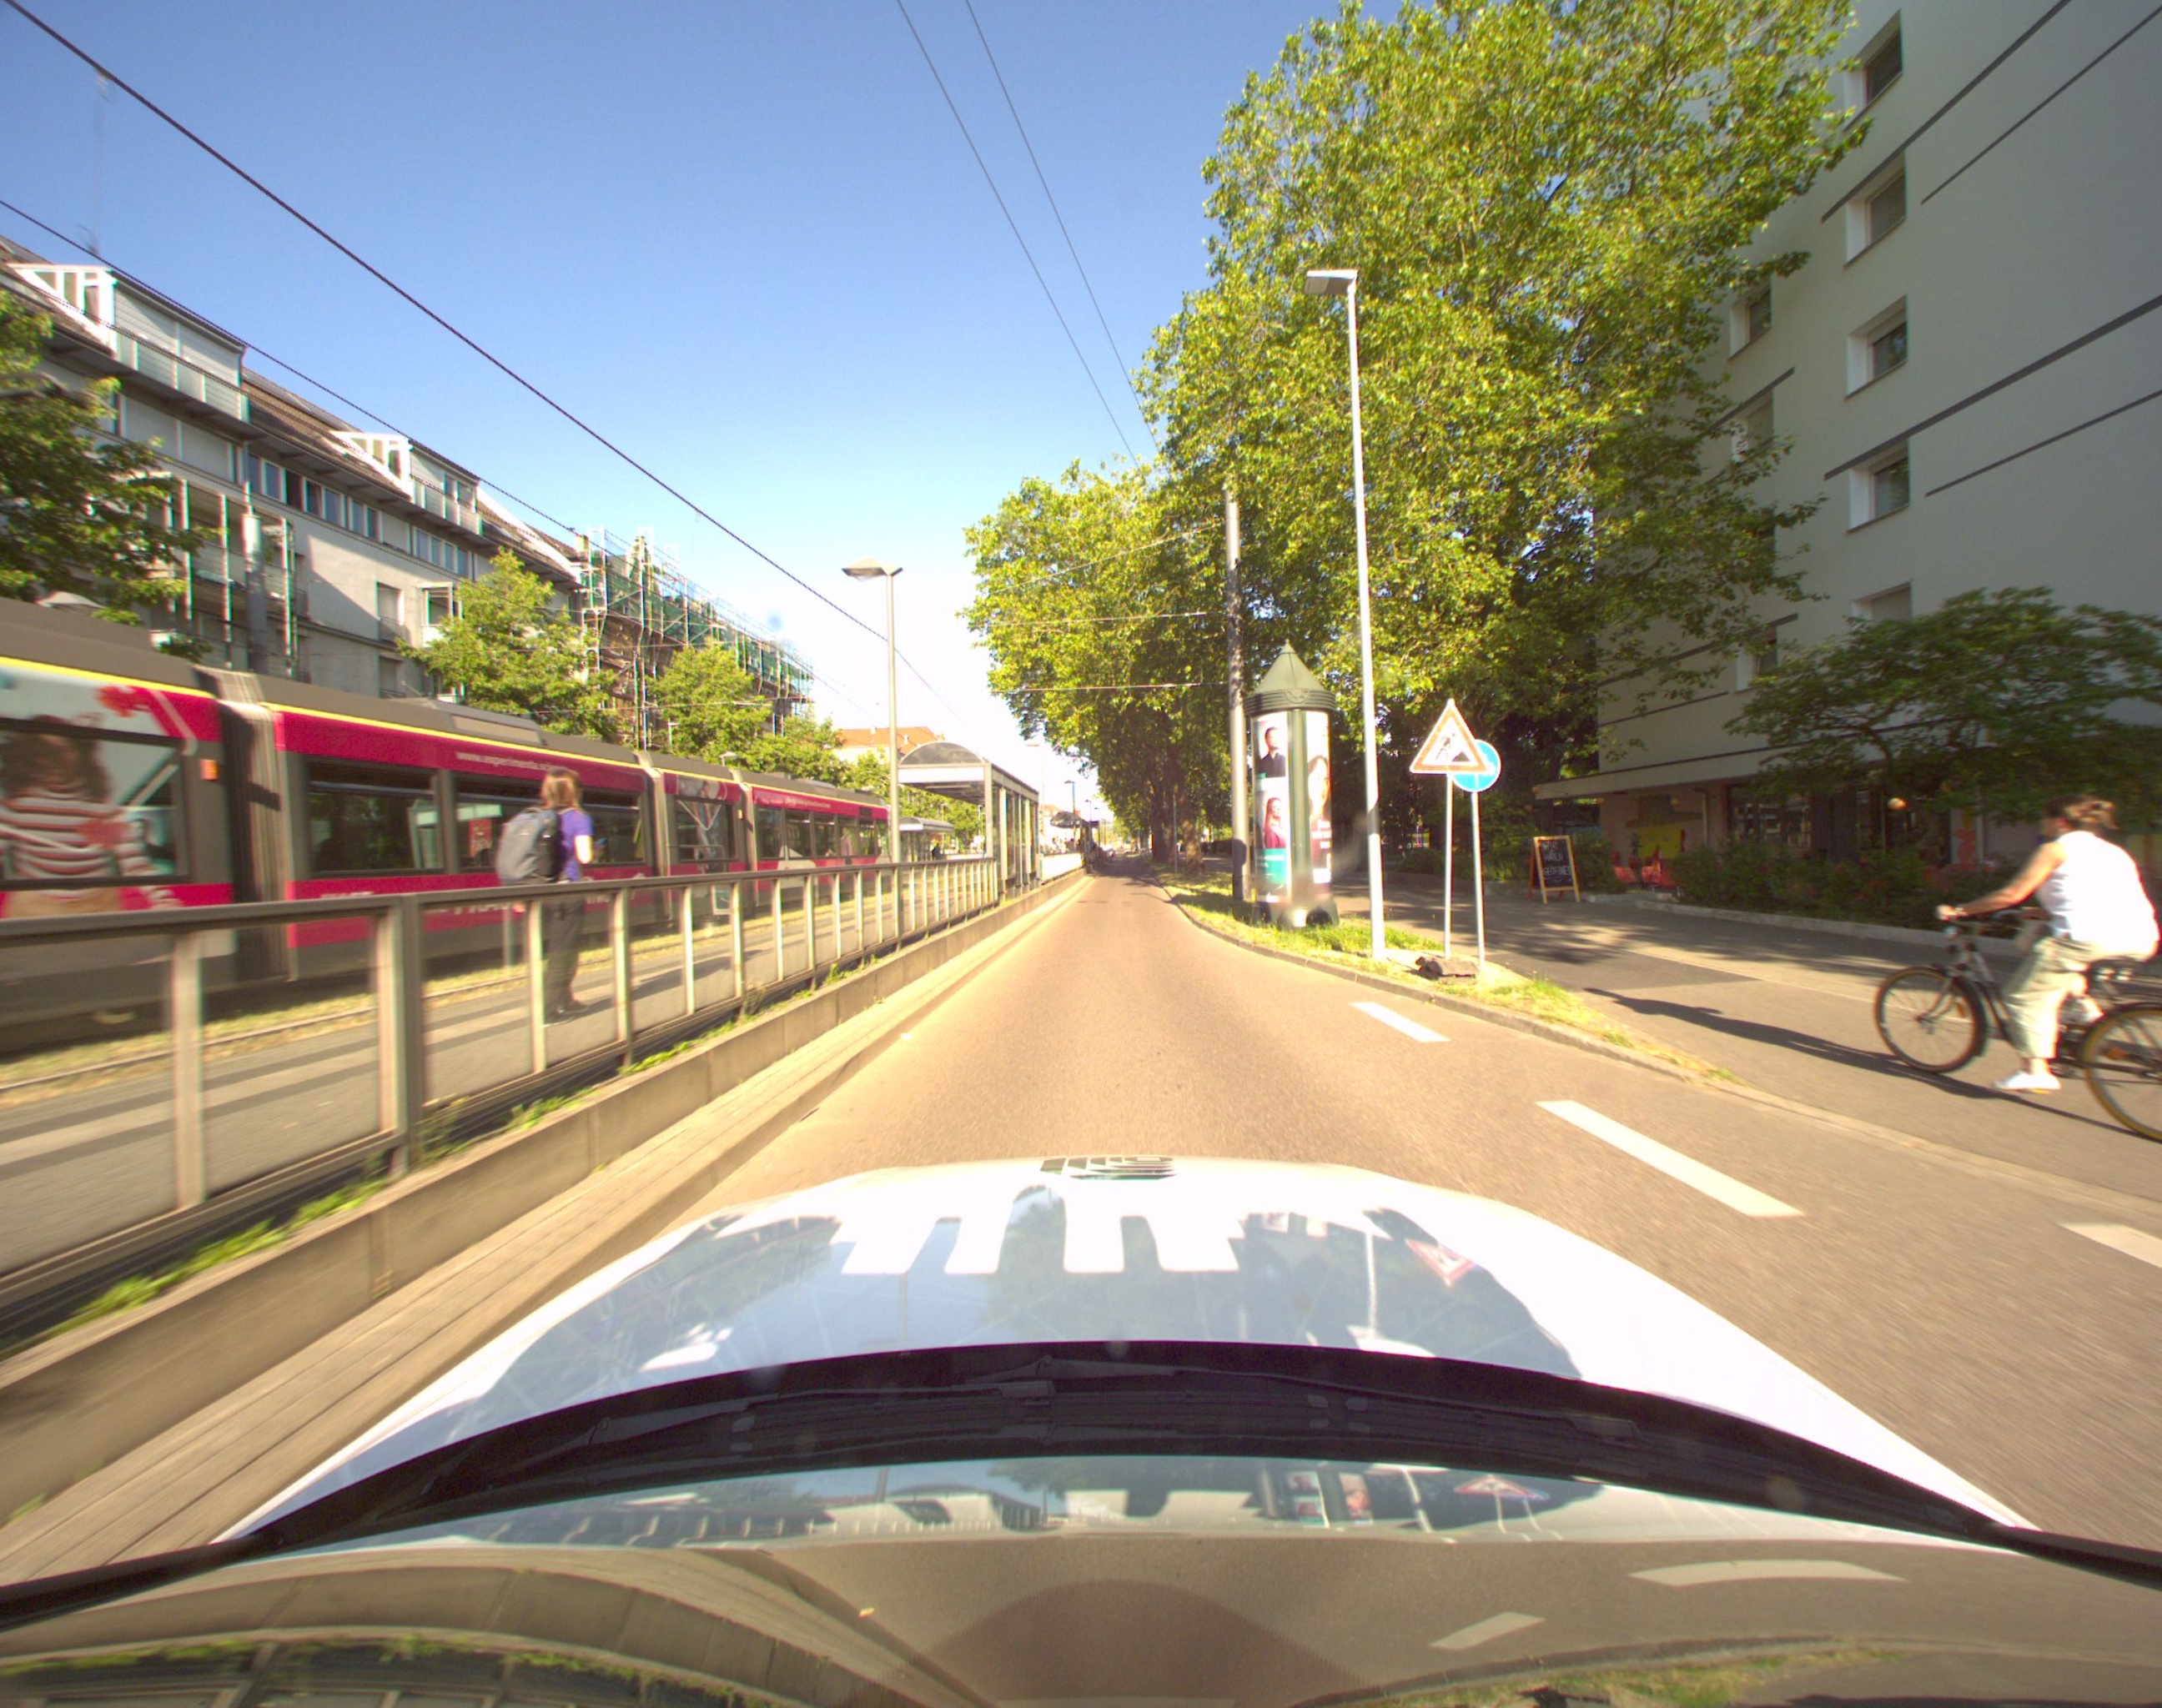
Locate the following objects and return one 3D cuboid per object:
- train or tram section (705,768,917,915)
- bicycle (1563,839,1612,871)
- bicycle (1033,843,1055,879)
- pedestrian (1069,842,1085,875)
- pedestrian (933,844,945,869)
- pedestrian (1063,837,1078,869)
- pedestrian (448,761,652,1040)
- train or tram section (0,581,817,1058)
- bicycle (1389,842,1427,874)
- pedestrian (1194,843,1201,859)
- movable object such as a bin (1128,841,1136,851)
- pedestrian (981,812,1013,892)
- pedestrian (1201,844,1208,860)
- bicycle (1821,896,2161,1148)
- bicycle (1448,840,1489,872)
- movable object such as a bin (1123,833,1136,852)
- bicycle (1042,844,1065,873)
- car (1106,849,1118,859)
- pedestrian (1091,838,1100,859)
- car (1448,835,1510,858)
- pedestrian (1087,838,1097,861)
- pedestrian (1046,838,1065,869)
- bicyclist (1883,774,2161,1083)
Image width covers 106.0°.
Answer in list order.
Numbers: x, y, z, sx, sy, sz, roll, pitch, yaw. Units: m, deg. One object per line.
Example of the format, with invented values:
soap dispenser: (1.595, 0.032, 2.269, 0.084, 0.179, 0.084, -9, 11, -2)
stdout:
train or tram section: (-7.933, -0.350, 25.777, 2.857, 3.685, 9.693, -2, 0, 3)
bicycle: (19.228, 0.038, 30.947, 0.786, 1.177, 1.822, 0, 0, 3)
bicycle: (-1.204, 0.209, 26.711, 0.511, 1.133, 2.105, 0, 0, 3)
pedestrian: (-0.214, 0.231, 43.312, 0.761, 1.758, 0.695, 0, 0, 2)
pedestrian: (-9.706, 0.198, 55.506, 0.677, 1.690, 0.655, 0, 0, 1)
pedestrian: (-0.517, -0.060, 39.971, 0.675, 1.562, 0.852, 0, 0, 3)
pedestrian: (-3.332, 0.264, 5.203, 0.627, 1.609, 0.982, 0, 0, 1)
train or tram section: (-8.678, -0.283, 13.649, 2.857, 3.685, 14.574, -2, 0, 3)
bicycle: (12.587, 0.133, 31.401, 0.786, 1.177, 1.822, 0, 0, 3)
pedestrian: (12.351, -0.292, 86.416, 0.625, 1.656, 0.740, -3, 0, 3)
movable object such as a bin: (15.600, -2.474, 249.870, 1.960, 3.013, 4.800, -4, 0, 3)
pedestrian: (-2.040, -0.048, 19.859, 0.666, 1.902, 0.825, 0, 0, 2)
pedestrian: (13.103, -0.252, 86.277, 0.647, 1.656, 0.784, -3, 0, 3)
bicycle: (5.231, 0.809, 4.561, 0.600, 1.026, 1.768, -2, 0, 2)
bicycle: (14.788, 0.077, 31.109, 0.786, 1.177, 1.822, 0, 0, 3)
movable object such as a bin: (13.605, -3.144, 227.754, 3.075, 5.088, 8.898, -4, 0, 3)
bicycle: (-1.091, 0.169, 32.691, 0.734, 1.133, 2.032, 0, 0, 3)
car: (5.401, 0.033, 143.061, 1.985, 1.684, 4.004, 0, 0, 3)
pedestrian: (1.202, -0.475, 67.740, 0.753, 1.690, 0.679, 0, 0, 3)
car: (25.503, -0.476, 52.317, 1.987, 1.453, 3.999, 0, 0, 0)
pedestrian: (0.827, -0.359, 60.586, 0.676, 1.690, 0.895, 0, 0, 3)
pedestrian: (-1.446, -0.020, 46.139, 0.913, 1.722, 0.625, 0, 0, -31)
bicyclist: (5.221, 0.377, 4.559, 0.601, 1.551, 0.860, -2, 0, 2)
